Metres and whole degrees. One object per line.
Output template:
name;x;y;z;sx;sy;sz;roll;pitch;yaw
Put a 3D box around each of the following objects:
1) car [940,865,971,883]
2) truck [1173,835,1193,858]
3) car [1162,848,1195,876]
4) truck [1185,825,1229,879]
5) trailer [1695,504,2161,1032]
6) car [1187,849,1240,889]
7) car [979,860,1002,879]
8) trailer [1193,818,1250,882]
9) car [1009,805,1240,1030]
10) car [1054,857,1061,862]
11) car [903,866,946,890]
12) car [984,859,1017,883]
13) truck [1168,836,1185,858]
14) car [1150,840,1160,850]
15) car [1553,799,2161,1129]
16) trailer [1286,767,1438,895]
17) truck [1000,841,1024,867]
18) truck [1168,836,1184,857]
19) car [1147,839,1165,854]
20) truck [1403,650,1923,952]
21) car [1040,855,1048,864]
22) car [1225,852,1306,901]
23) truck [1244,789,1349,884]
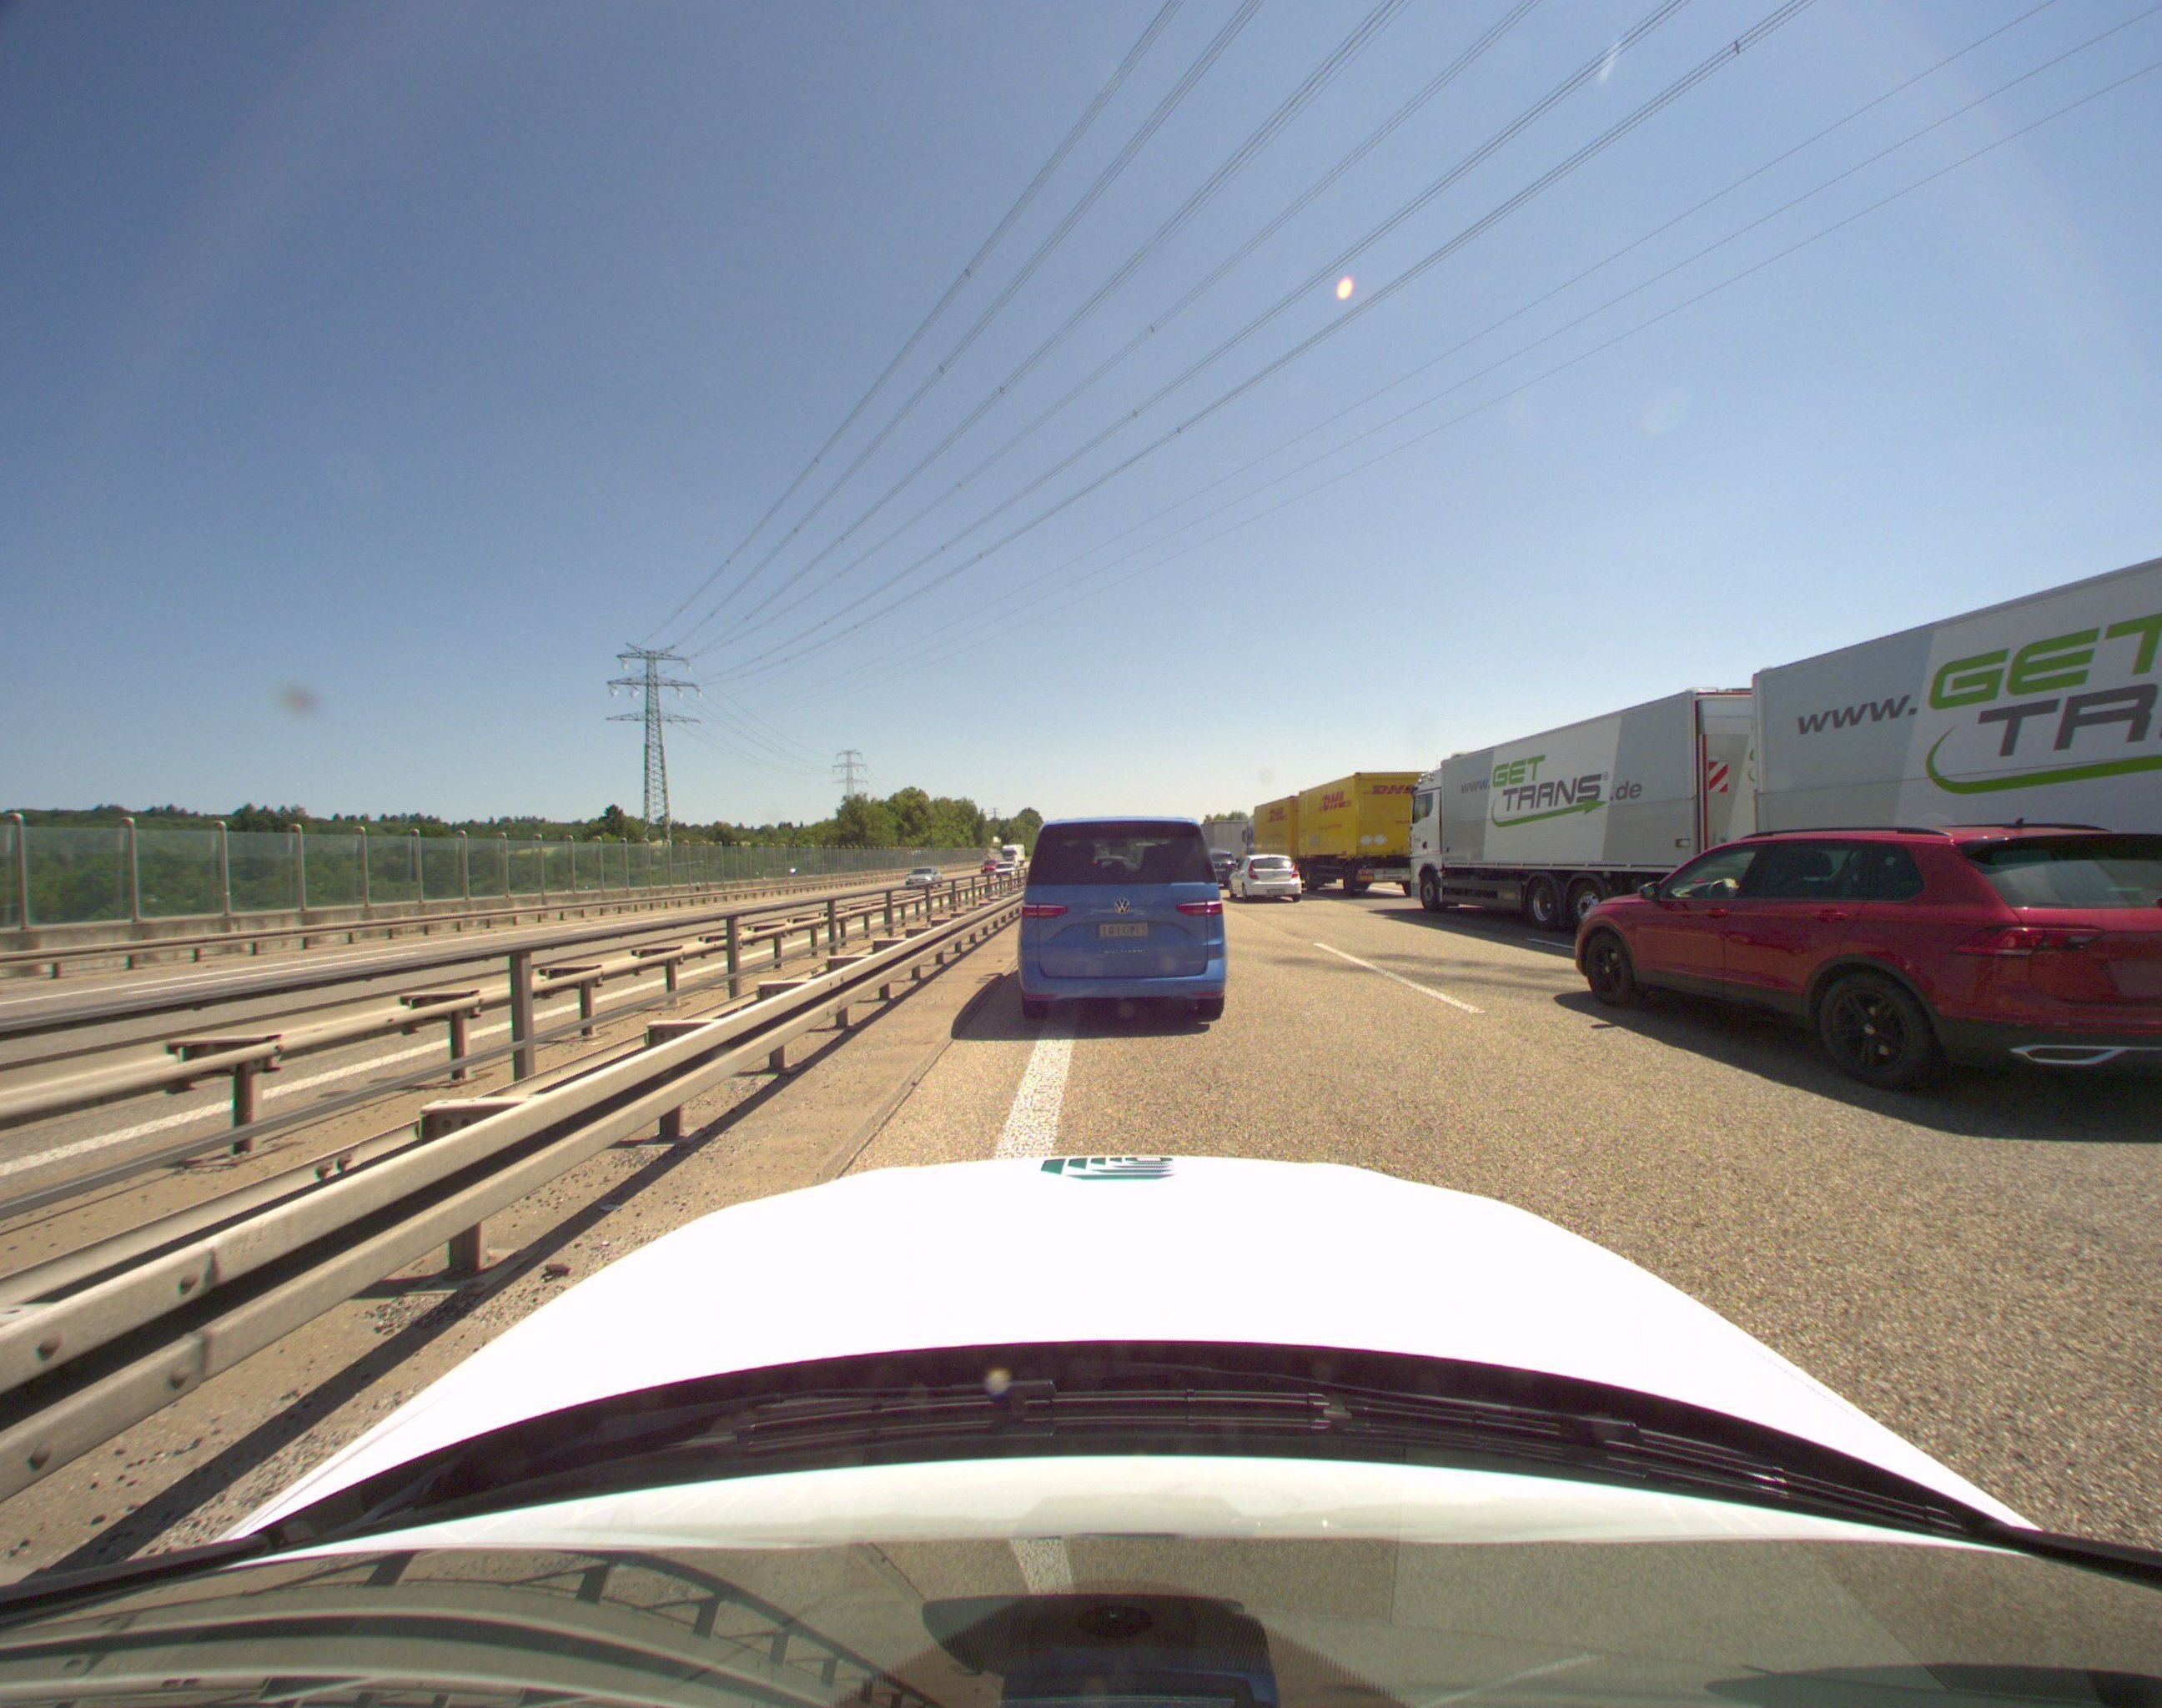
car;-10.990;1.734;71.412;1.865;1.442;4.386;-4;-1;1
truck;11.404;-0.783;91.161;1.791;2.449;4.506;0;-1;2
car;6.956;0.580;58.409;1.955;1.936;3.933;0;-1;2
truck;11.364;-0.129;74.142;3.014;4.611;7.925;0;-1;2
trailer;9.427;-0.633;6.573;2.888;3.891;8.217;0;-1;2
car;5.904;0.663;36.667;1.809;1.679;3.932;0;-1;1
car;-9.566;1.651;86.407;1.833;1.822;4.748;-3;-1;1
trailer;10.970;-0.247;64.729;3.014;4.611;10.930;0;-1;2
car;0.429;0.559;8.828;1.923;1.874;4.002;0;-1;2
car;-7.164;1.776;248.096;1.765;1.491;4.607;-3;0;2
car;-10.458;1.570;54.650;1.865;1.442;4.386;-4;-1;1
car;-5.964;1.258;60.962;1.865;1.530;3.609;-7;-1;1
truck;11.741;-0.854;99.842;1.735;2.549;4.212;0;-1;2
car;14.101;-1.749;155.720;1.790;1.751;3.945;0;-1;2
car;5.714;0.581;6.326;1.702;1.679;4.286;-1;-1;2
trailer;10.156;-0.676;30.638;2.673;4.088;8.980;0;-1;1
truck;-12.028;0.022;141.785;2.917;4.293;6.862;-4;-1;3
truck;12.263;-0.962;105.271;1.790;2.596;4.307;0;-1;2
car;9.403;-0.914;102.233;1.912;1.706;4.001;0;-1;2
truck;9.697;-0.632;15.965;2.841;3.934;10.613;0;-1;2
car;-11.189;1.777;245.958;1.987;2.582;6.651;-4;-1;1
car;5.920;0.714;26.598;1.809;1.470;3.932;0;-1;1
truck;10.291;-0.689;40.135;2.690;4.088;9.941;0;-1;1
